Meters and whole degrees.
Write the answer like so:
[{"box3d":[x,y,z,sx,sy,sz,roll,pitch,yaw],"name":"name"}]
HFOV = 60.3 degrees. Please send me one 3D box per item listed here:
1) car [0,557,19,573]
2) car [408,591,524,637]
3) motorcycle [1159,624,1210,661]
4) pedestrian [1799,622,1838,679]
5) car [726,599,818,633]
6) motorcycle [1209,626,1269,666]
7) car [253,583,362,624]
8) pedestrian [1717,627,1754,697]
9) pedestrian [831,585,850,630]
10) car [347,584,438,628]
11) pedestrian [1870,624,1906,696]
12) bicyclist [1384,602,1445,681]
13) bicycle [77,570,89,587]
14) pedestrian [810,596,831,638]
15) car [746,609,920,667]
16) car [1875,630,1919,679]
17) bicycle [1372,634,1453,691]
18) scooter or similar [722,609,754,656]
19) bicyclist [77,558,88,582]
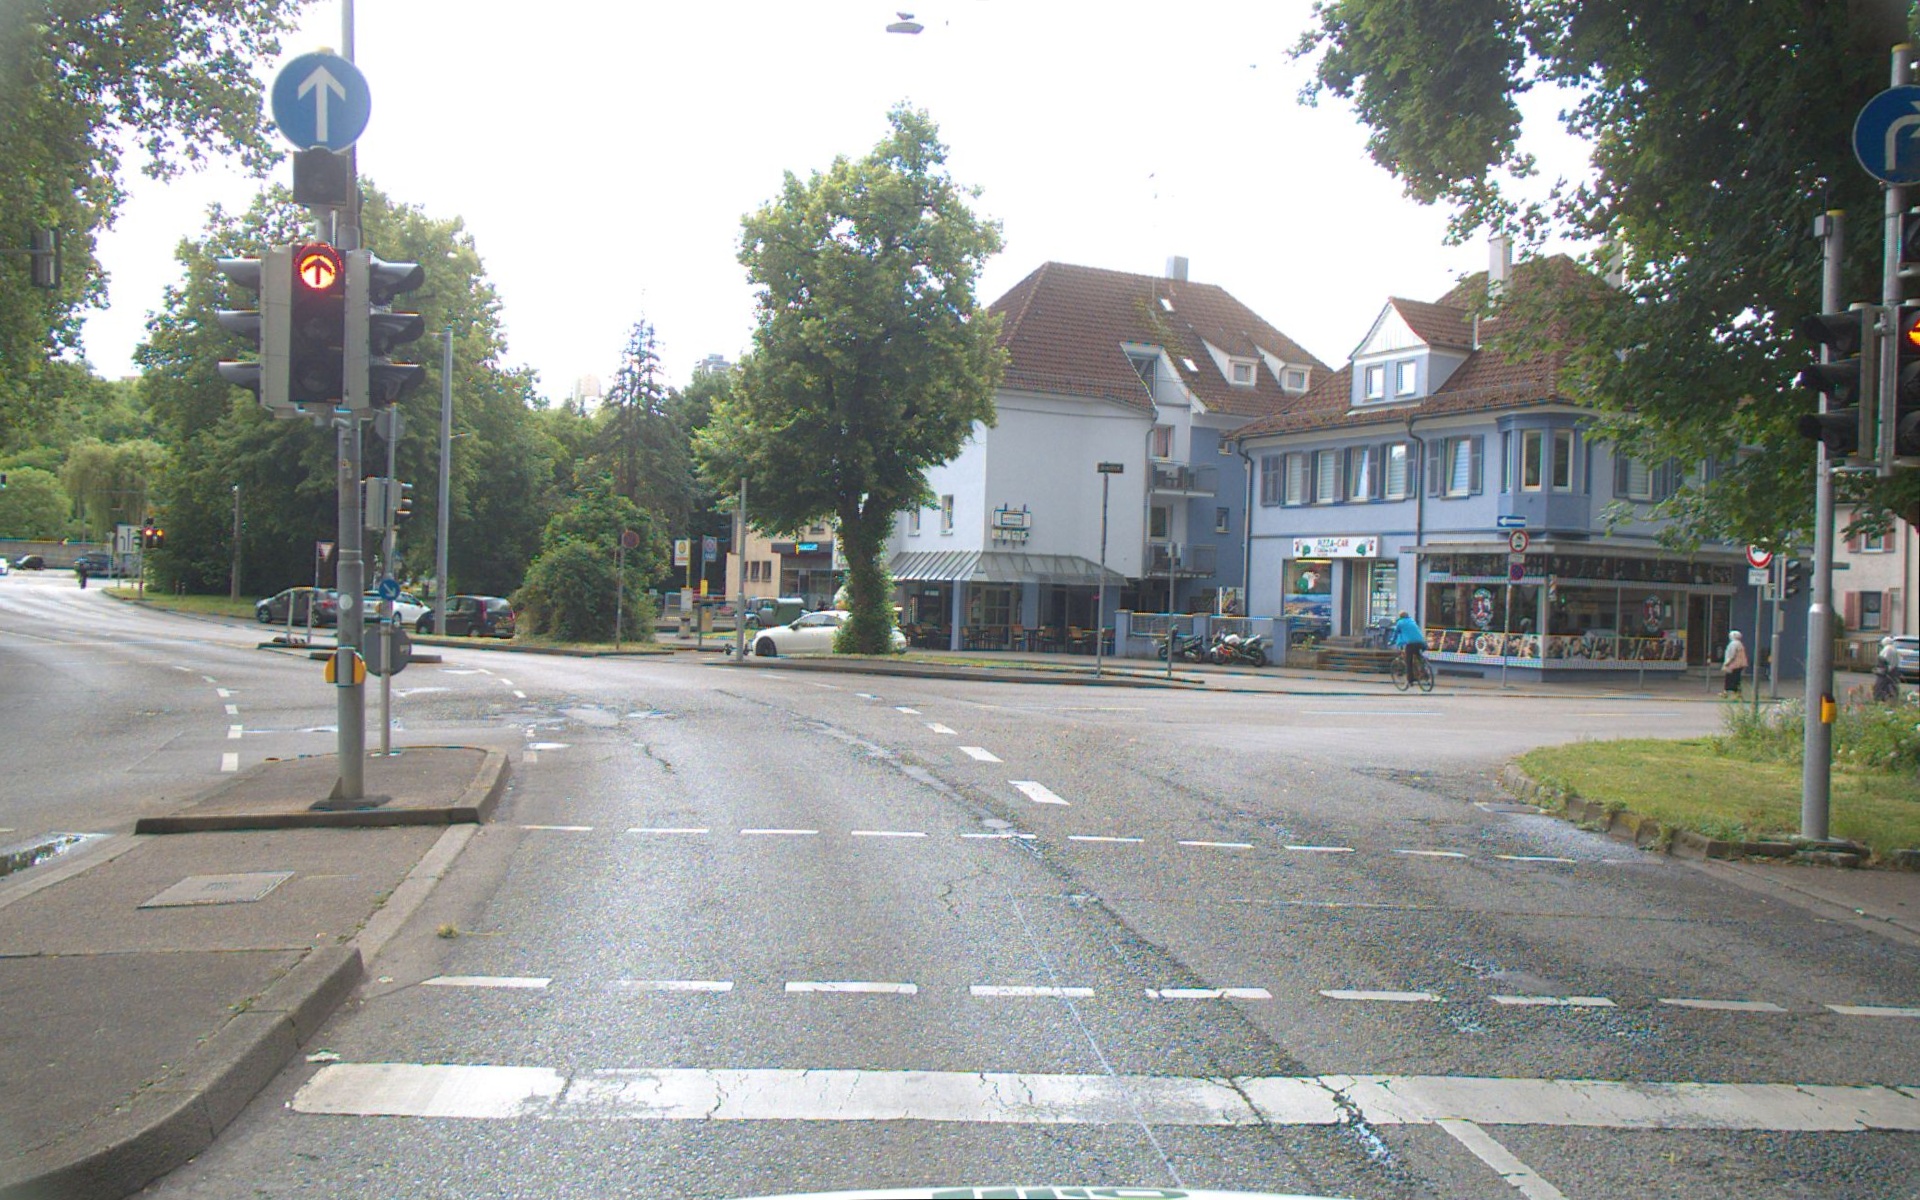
[{"box3d":[-88.869,-3.239,153.688,2.971,1.442,1.491,0,-2,41],"name":"car"},{"box3d":[-15.914,0.440,53.268,3.252,1.376,1.778,1,0,27],"name":"car"},{"box3d":[6.814,1.283,50.216,1.430,1.107,0.522,1,0,35],"name":"motorcycle"},{"box3d":[24.051,1.405,46.346,0.659,1.587,0.743,1,-1,-15],"name":"pedestrian"},{"box3d":[-8.581,0.723,75.485,3.880,1.467,1.742,1,0,-21],"name":"car"},{"box3d":[8.167,1.334,48.466,1.595,1.107,0.625,1,0,32],"name":"motorcycle"},{"box3d":[-25.008,0.143,63.426,3.695,1.491,1.622,1,0,18],"name":"car"},{"box3d":[18.016,1.423,38.430,0.717,1.587,0.767,0,-1,30],"name":"pedestrian"},{"box3d":[-4.278,0.269,59.181,0.531,1.587,0.468,0,-1,13],"name":"pedestrian"},{"box3d":[-22.733,0.249,66.409,1.821,1.668,3.757,1,0,10],"name":"car"},{"box3d":[20.797,1.331,37.069,0.681,1.587,0.665,0,-1,30],"name":"pedestrian"},{"box3d":[9.999,0.907,36.411,0.900,1.680,0.985,1,0,-15],"name":"bicyclist"},{"box3d":[-52.588,-1.287,99.176,0.550,0.975,2.012,1,0,-31],"name":"bicycle"},{"box3d":[-6.812,0.830,80.698,0.823,2.049,1.052,1,0,-15],"name":"pedestrian"},{"box3d":[-3.532,1.016,45.689,4.618,1.435,1.896,1,0,35],"name":"car"},{"box3d":[29.697,1.684,51.696,1.849,1.415,3.608,1,0,28],"name":"car"},{"box3d":[9.976,1.359,36.514,0.859,1.169,1.945,1,0,-15],"name":"bicycle"},{"box3d":[-5.701,0.824,42.514,0.433,1.195,1.439,1,0,8],"name":"scooter or similar"},{"box3d":[-52.598,-1.797,99.150,0.534,1.365,0.706,1,0,-31],"name":"bicyclist"}]
